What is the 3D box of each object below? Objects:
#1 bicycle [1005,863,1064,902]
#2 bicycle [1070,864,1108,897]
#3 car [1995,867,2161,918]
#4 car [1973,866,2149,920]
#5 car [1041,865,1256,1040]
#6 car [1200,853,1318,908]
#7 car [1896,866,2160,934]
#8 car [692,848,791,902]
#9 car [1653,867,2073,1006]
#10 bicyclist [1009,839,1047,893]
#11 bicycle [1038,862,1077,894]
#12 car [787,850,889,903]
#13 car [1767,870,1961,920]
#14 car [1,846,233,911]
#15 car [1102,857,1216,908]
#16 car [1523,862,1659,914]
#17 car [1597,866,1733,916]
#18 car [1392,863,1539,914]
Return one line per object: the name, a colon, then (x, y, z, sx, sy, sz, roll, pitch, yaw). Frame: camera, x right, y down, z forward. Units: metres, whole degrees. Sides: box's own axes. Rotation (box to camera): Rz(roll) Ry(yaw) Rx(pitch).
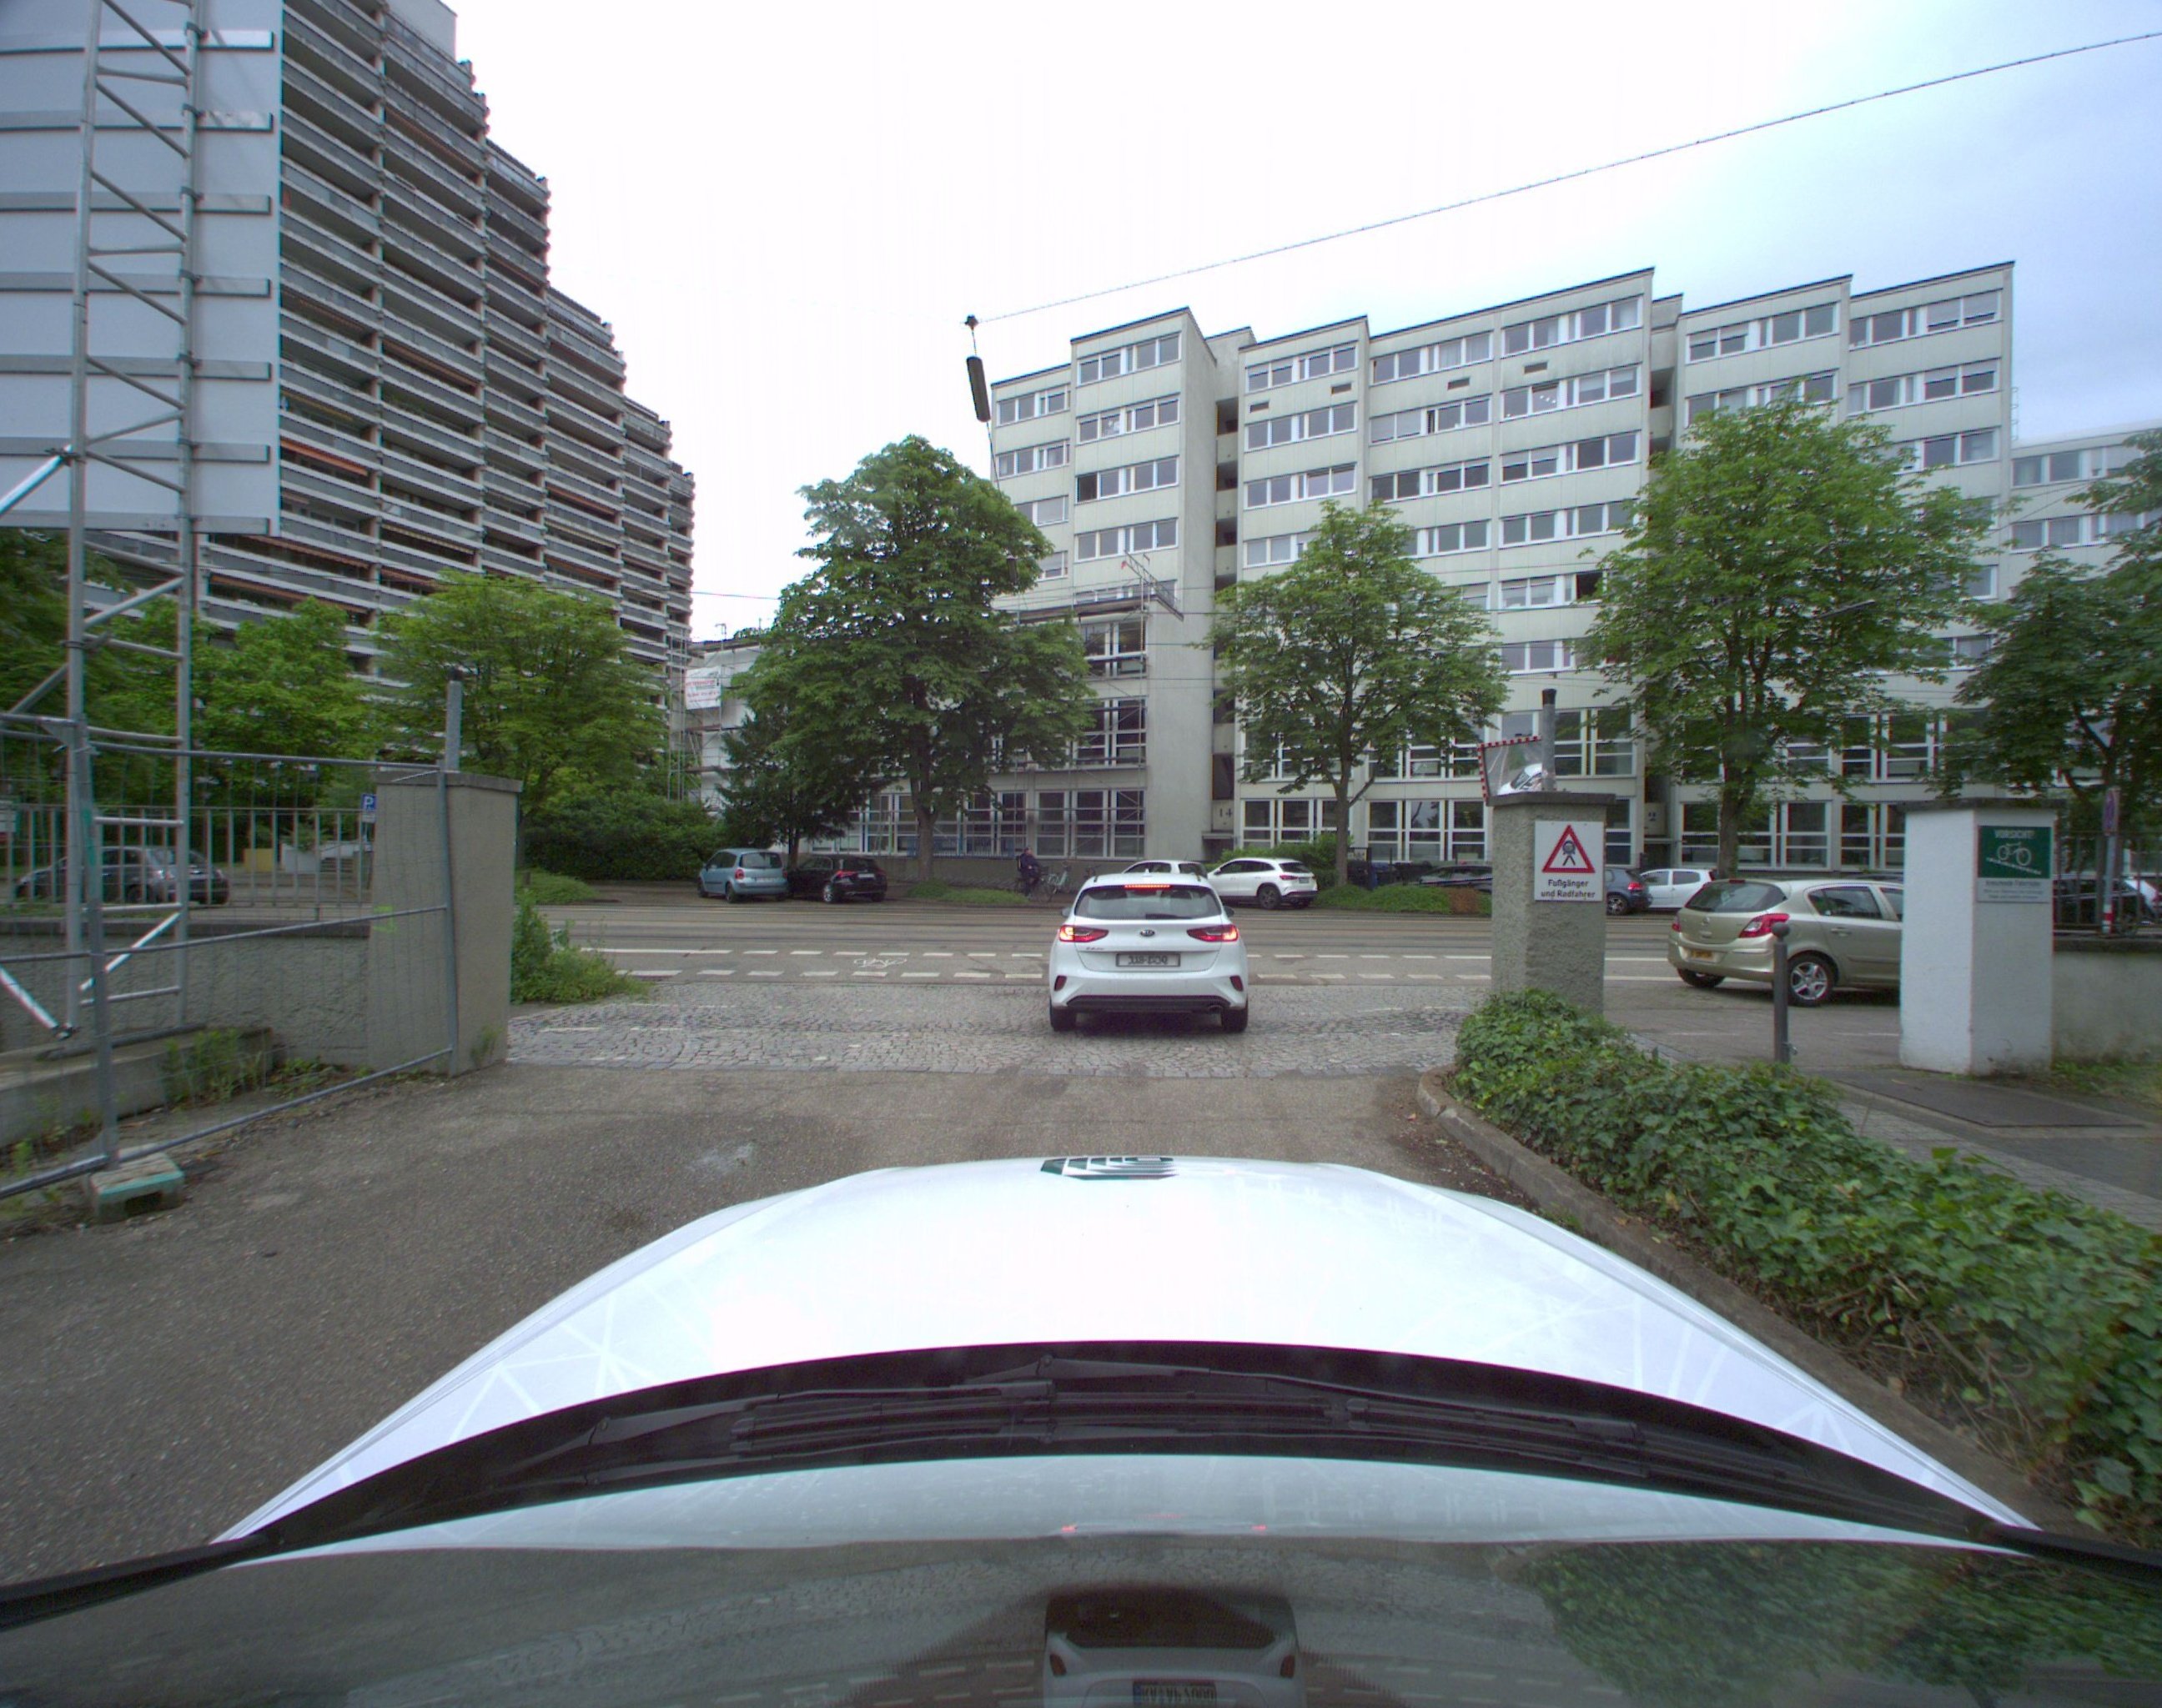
bicycle: (-1.485, 0.891, 25.870, 0.826, 1.174, 1.892, 1, 0, -43)
bicycle: (0.328, 0.994, 31.099, 0.638, 1.074, 2.325, 1, 2, 22)
car: (31.865, 1.194, 26.098, 1.425, 1.473, 3.348, 0, 0, -44)
car: (29.967, 1.146, 25.044, 1.425, 1.473, 3.348, 1, 0, -44)
car: (0.732, 0.893, 8.740, 1.767, 1.433, 3.983, 0, -2, 5)
car: (5.559, 0.793, 25.653, 1.565, 1.618, 3.367, 0, -1, -42)
car: (22.592, 1.067, 19.551, 4.226, 1.490, 1.824, 0, 0, 1)
car: (-10.369, 0.592, 24.785, 1.628, 1.537, 3.296, 1, 0, -45)
car: (9.360, 0.939, 9.967, 3.570, 1.500, 1.665, 1, 0, 0)
bicyclist: (-1.710, 0.381, 26.122, 0.839, 1.698, 0.886, 1, 0, -43)
bicycle: (-0.893, 0.921, 31.637, 0.638, 1.074, 2.325, 1, 2, 22)
car: (-7.435, 0.639, 24.809, 1.628, 1.511, 3.296, 0, -1, -45)
car: (25.146, 1.291, 26.382, 4.441, 1.474, 1.425, 0, -3, 42)
car: (-21.956, 0.550, 18.649, 3.410, 1.420, 1.520, 0, 0, -1)
car: (2.359, 0.823, 25.243, 1.565, 1.473, 3.367, 0, -1, -42)
car: (15.750, 0.996, 25.239, 1.425, 1.474, 3.348, 0, -1, -44)
car: (18.651, 1.131, 26.081, 1.425, 1.474, 3.348, 0, -1, -44)
car: (12.168, 1.025, 25.927, 3.904, 1.474, 1.683, 0, -1, 42)
